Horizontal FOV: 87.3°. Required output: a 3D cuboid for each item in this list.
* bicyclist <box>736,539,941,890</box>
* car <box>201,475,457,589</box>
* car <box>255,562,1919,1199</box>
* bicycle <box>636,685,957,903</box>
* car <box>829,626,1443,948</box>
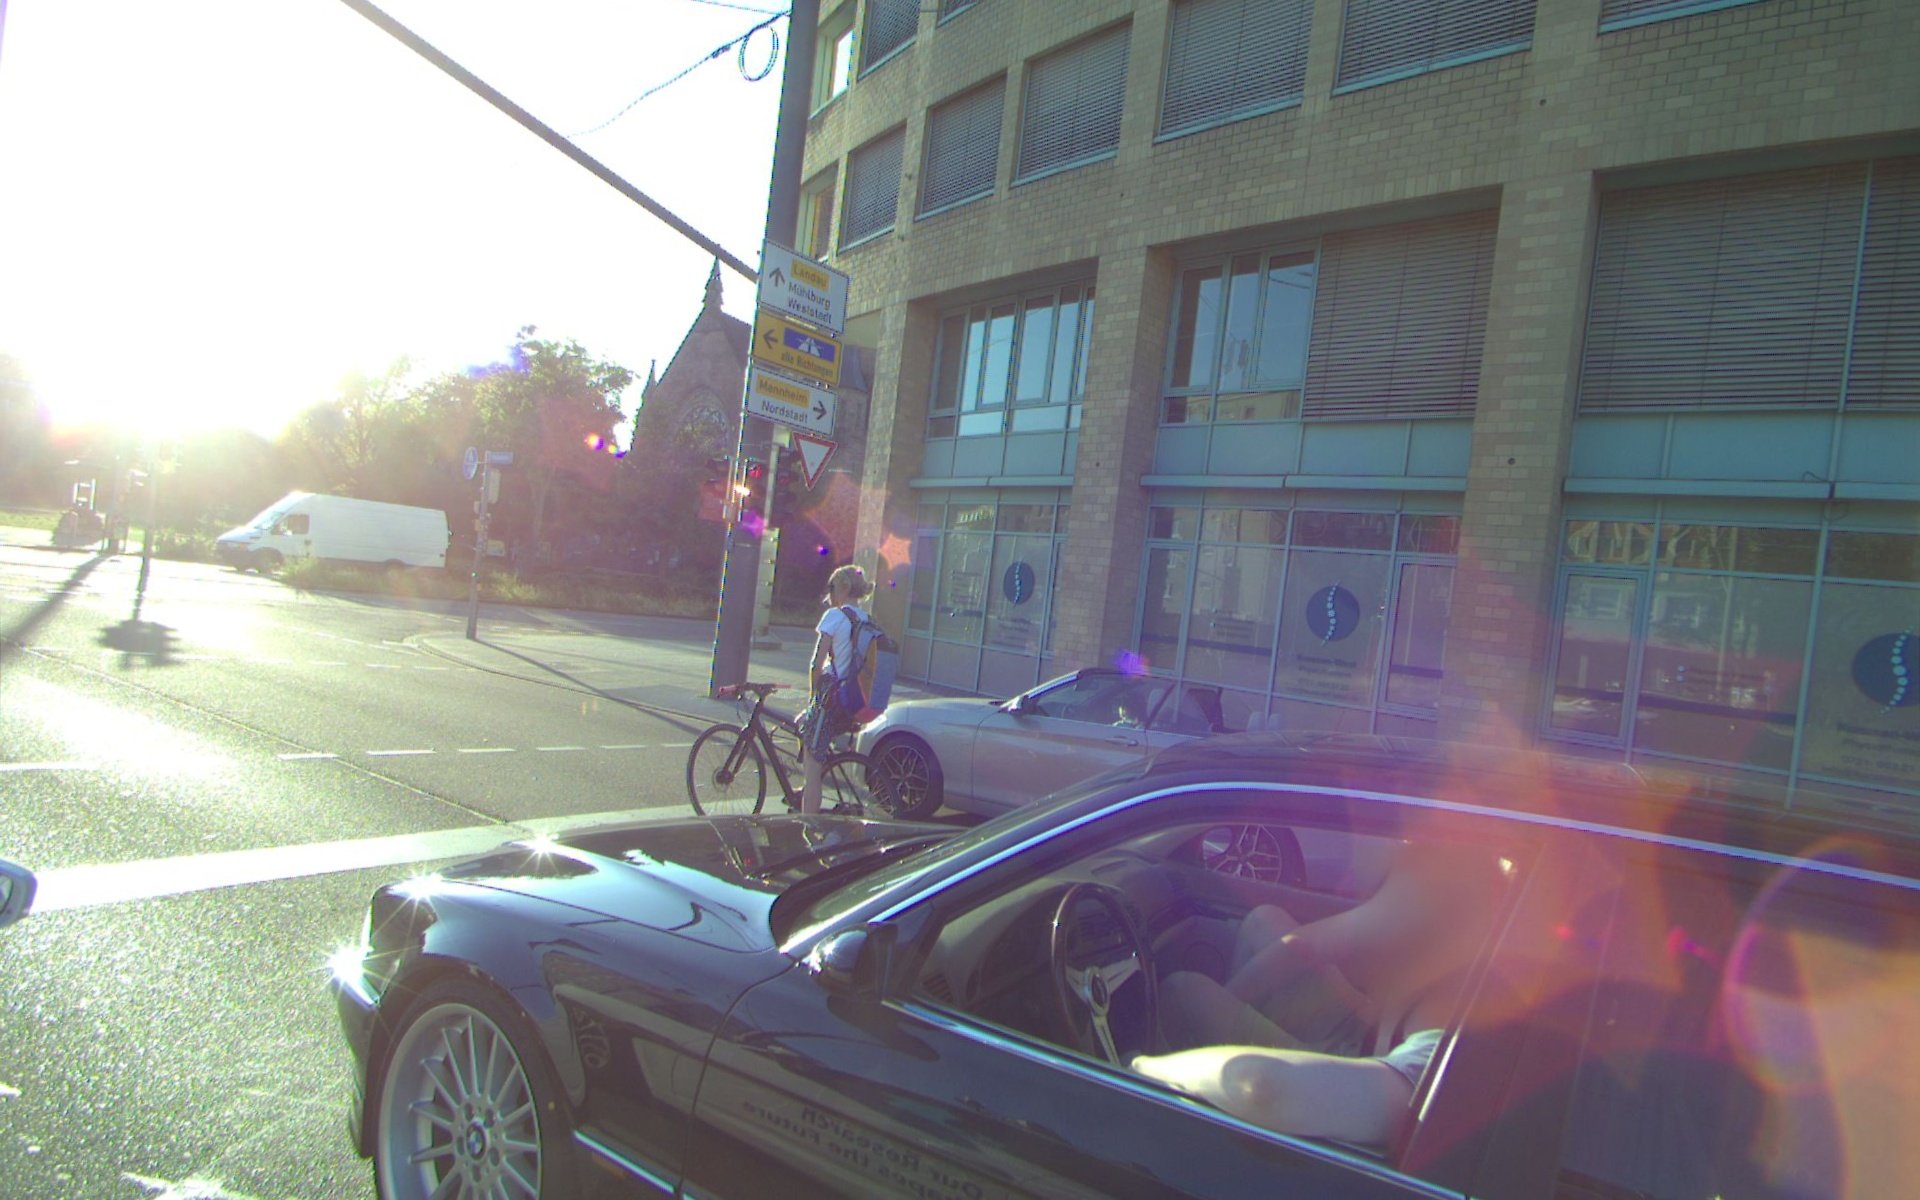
[{"bbox_3d":[-0.700,0.629,5.862,0.764,1.843,0.634,7,1,30],"label":"bicyclist"},{"bbox_3d":[-21.290,-2.197,34.434,2.059,2.862,7.017,7,0,33],"label":"car"},{"bbox_3d":[0.886,0.932,2.009,4.661,1.402,1.997,7,-1,32],"label":"car"},{"bbox_3d":[-1.013,1.083,6.033,1.838,0.884,0.634,7,0,30],"label":"bicycle"},{"bbox_3d":[1.242,1.195,7.685,4.157,1.401,1.747,7,-1,31],"label":"car"}]
